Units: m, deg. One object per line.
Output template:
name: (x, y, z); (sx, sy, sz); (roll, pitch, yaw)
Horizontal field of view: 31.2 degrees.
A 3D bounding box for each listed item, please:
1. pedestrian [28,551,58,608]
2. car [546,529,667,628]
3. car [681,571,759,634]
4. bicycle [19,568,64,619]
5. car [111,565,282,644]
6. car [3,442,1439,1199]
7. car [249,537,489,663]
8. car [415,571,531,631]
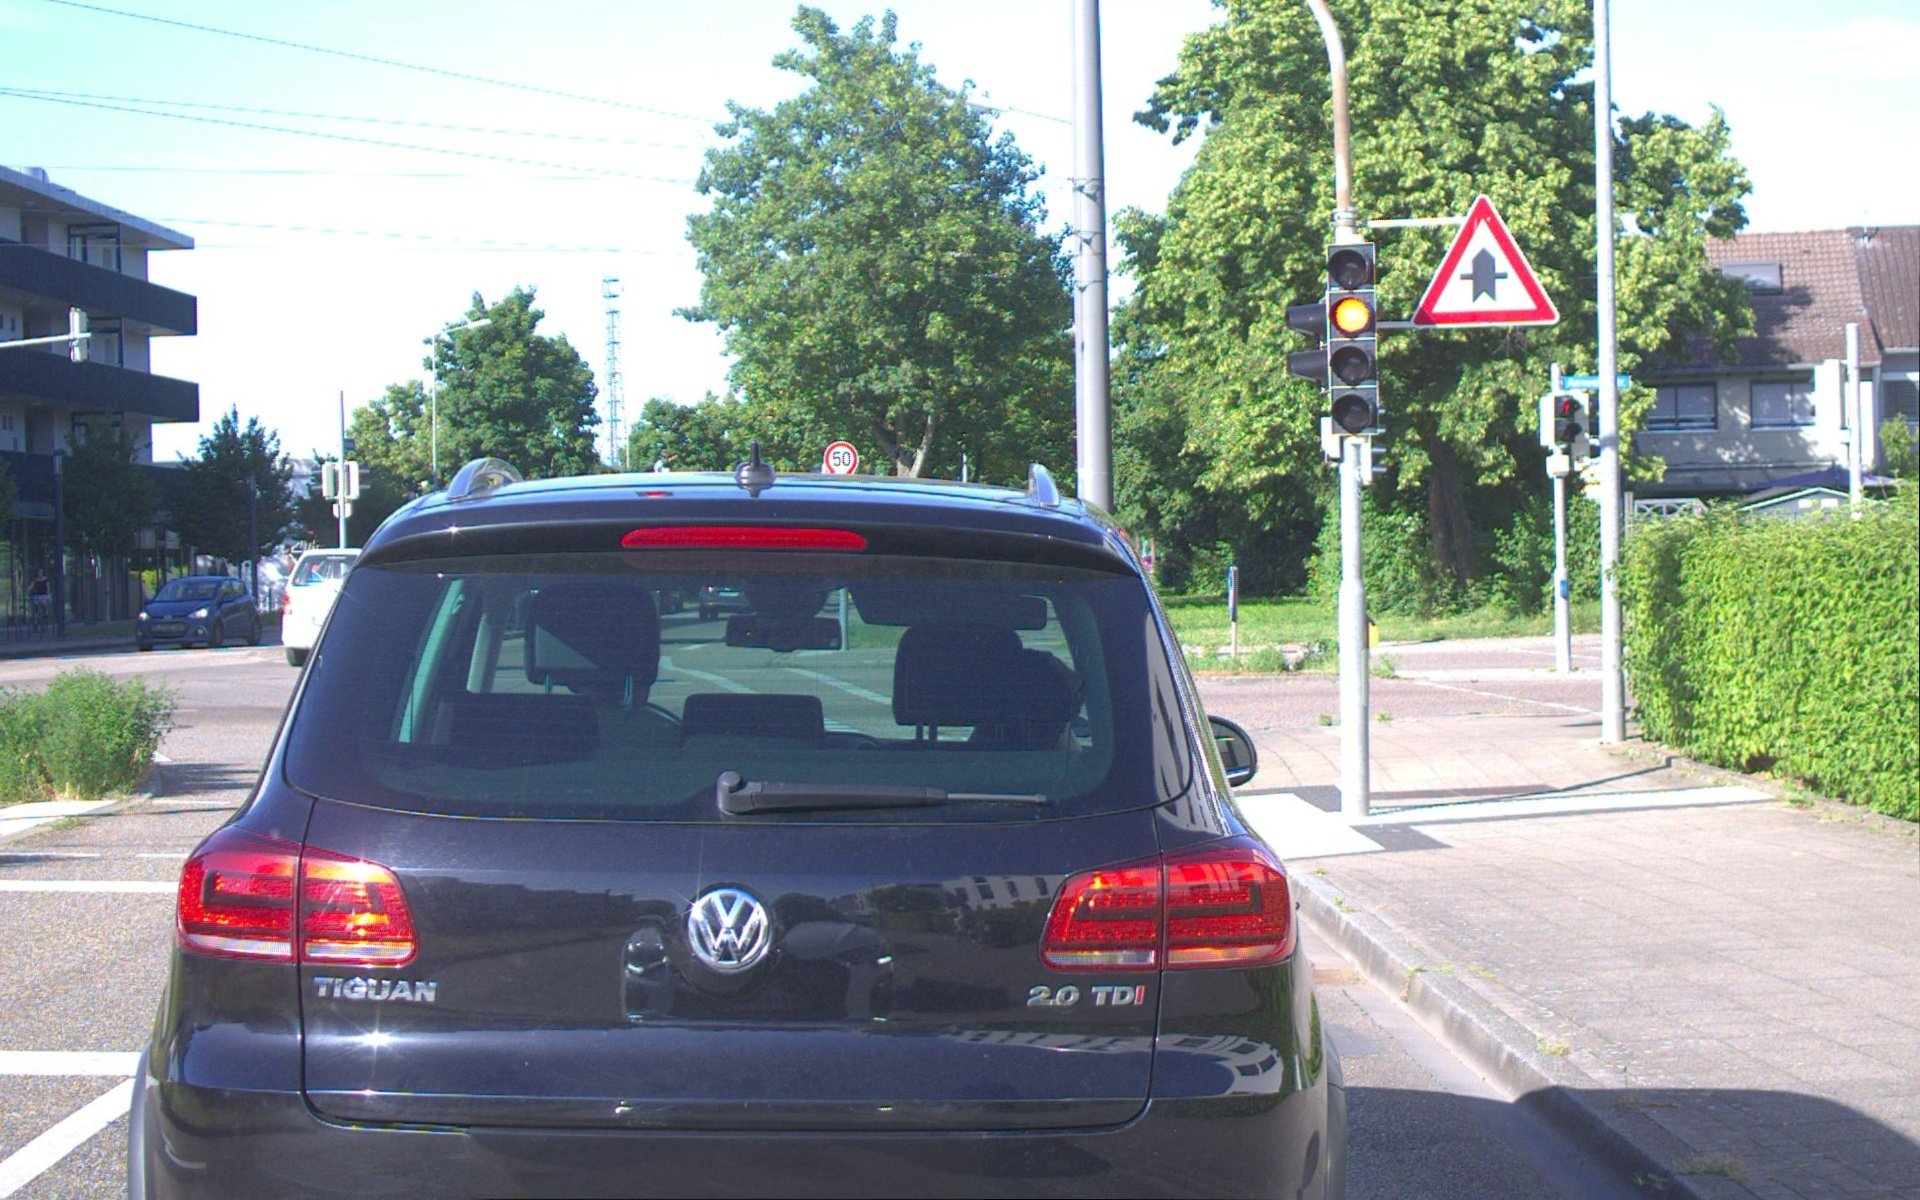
pedestrian: (-24.296, -0.544, 91.099); (0.642, 1.504, 0.596); (1, 0, 0)
car: (-6.833, -0.422, 66.216); (1.993, 1.830, 4.001); (1, 1, -10)
car: (-6.681, 0.059, 96.023); (1.993, 1.678, 4.000); (1, 1, -2)
bicycle: (-24.307, -0.188, 90.990); (0.630, 1.327, 1.913); (1, 1, 1)
car: (-15.816, 0.068, 71.415); (1.994, 1.569, 4.337); (1, 1, 9)
car: (-0.339, 0.601, 6.510); (1.869, 1.632, 4.000); (1, 1, -1)
car: (-8.397, -0.028, 49.141); (1.865, 1.714, 3.683); (0, 1, 18)
car: (-13.069, 0.008, 92.491); (1.994, 1.569, 4.338); (1, 1, 7)
